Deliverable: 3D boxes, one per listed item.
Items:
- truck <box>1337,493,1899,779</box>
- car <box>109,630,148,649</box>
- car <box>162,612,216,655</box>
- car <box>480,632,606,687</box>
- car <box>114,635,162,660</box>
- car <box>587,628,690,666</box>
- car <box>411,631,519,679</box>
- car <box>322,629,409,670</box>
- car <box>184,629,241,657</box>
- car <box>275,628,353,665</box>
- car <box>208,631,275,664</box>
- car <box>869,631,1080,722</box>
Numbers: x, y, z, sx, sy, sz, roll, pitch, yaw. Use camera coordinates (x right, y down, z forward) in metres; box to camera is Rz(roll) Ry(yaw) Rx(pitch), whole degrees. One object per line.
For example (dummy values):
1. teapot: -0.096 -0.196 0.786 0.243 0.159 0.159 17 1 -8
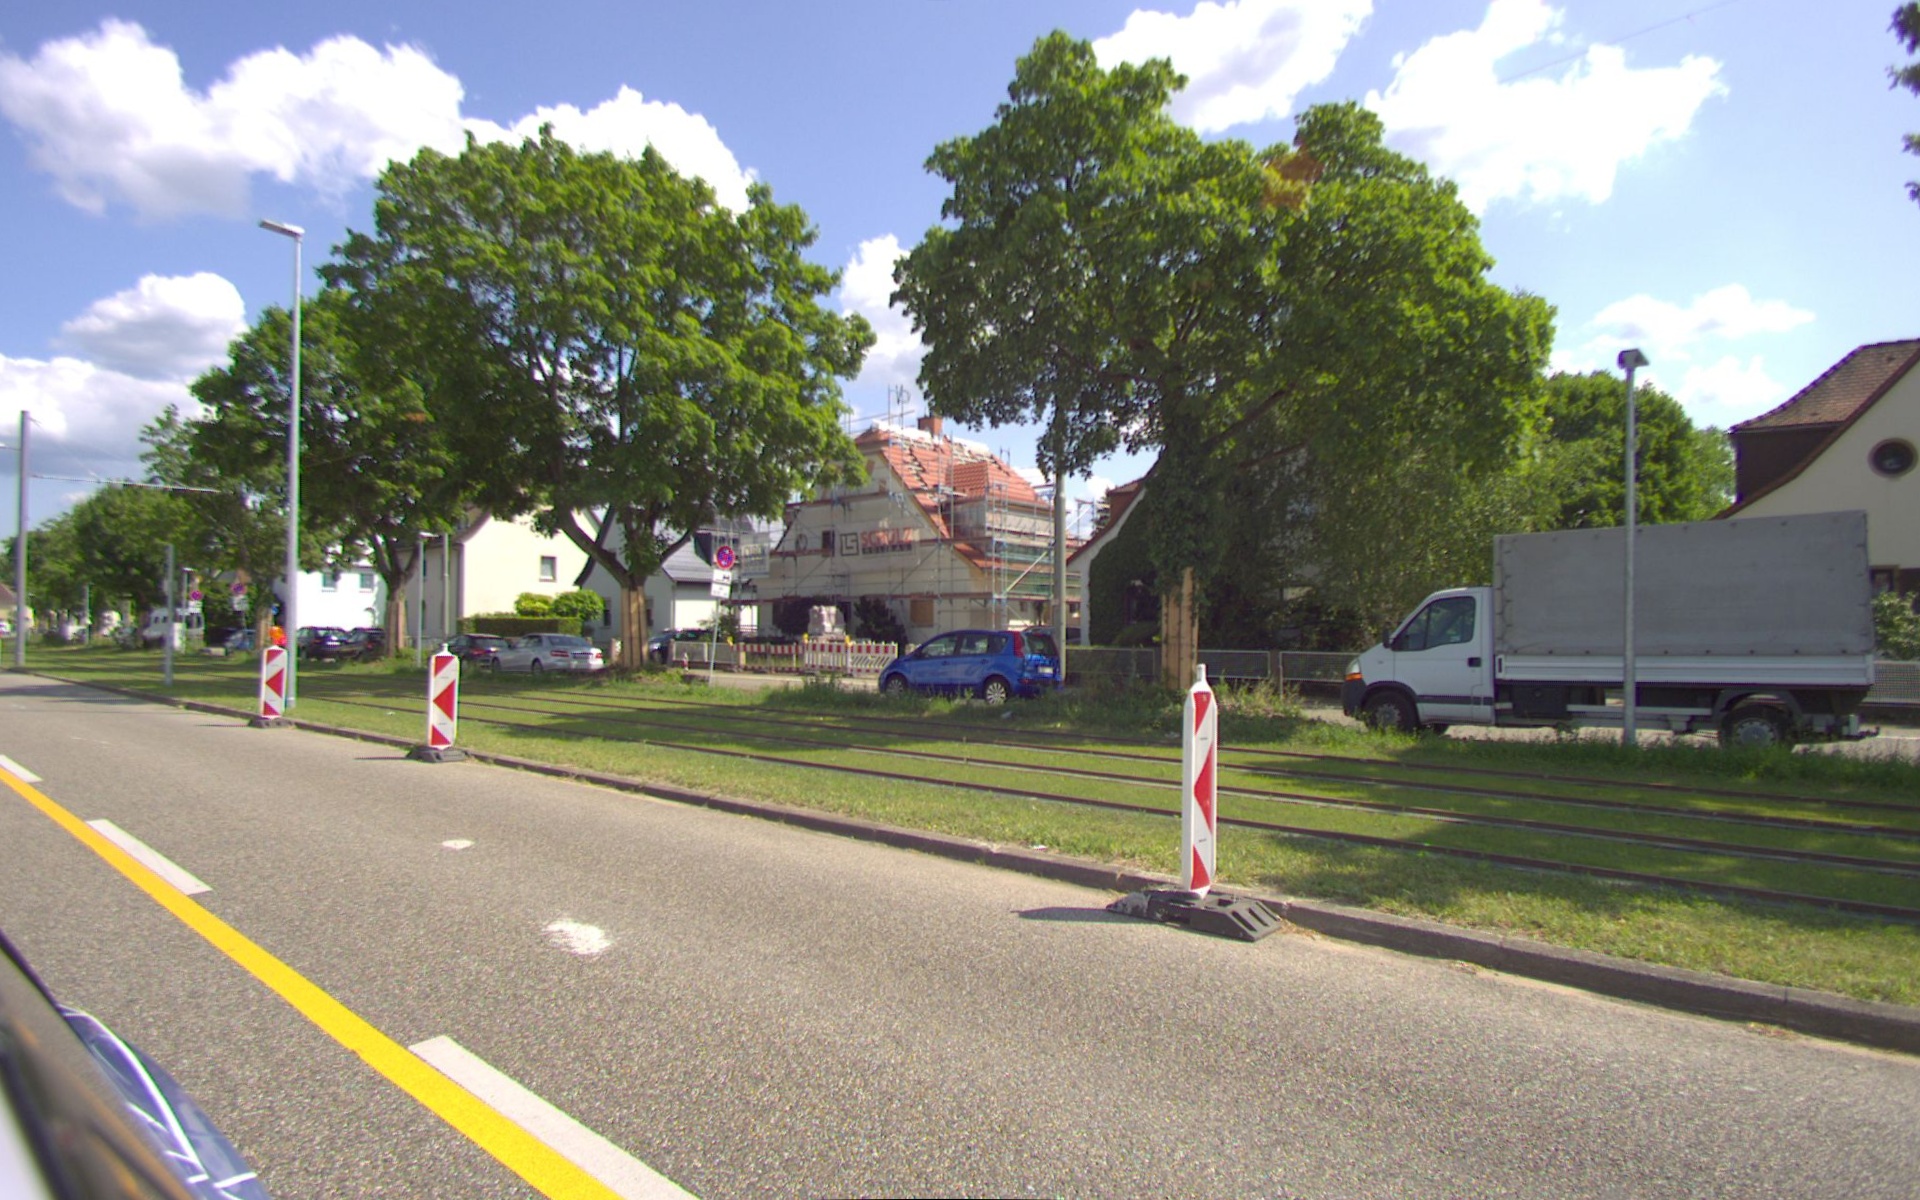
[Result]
1. truck: 8.280 0.462 13.350 5.871 3.010 1.982 -2 -3 41
2. car: -70.197 3.325 85.393 4.603 1.623 1.733 -2 -3 40
3. car: -48.831 2.103 64.093 4.603 2.636 1.733 -2 -3 40
4. car: -13.168 1.827 31.854 4.603 1.623 1.733 -2 -3 40
5. car: -57.018 3.264 70.143 4.603 1.623 1.733 -2 -3 40
6. car: -14.077 2.043 44.501 1.756 1.623 3.995 -2 -3 41
7. car: -17.609 1.911 35.925 4.603 1.623 1.733 -2 -3 40
8. car: -25.178 2.070 42.821 4.603 1.623 1.733 -2 -3 40
9. car: -44.640 2.549 60.397 4.603 1.623 1.733 -2 -3 40
10. car: -29.597 2.095 46.324 4.603 1.623 1.733 -2 -3 40
11. car: -37.640 2.465 52.973 4.603 1.623 1.733 -2 -3 40
12. car: 0.214 1.440 20.175 4.047 1.623 1.733 -2 -3 40
